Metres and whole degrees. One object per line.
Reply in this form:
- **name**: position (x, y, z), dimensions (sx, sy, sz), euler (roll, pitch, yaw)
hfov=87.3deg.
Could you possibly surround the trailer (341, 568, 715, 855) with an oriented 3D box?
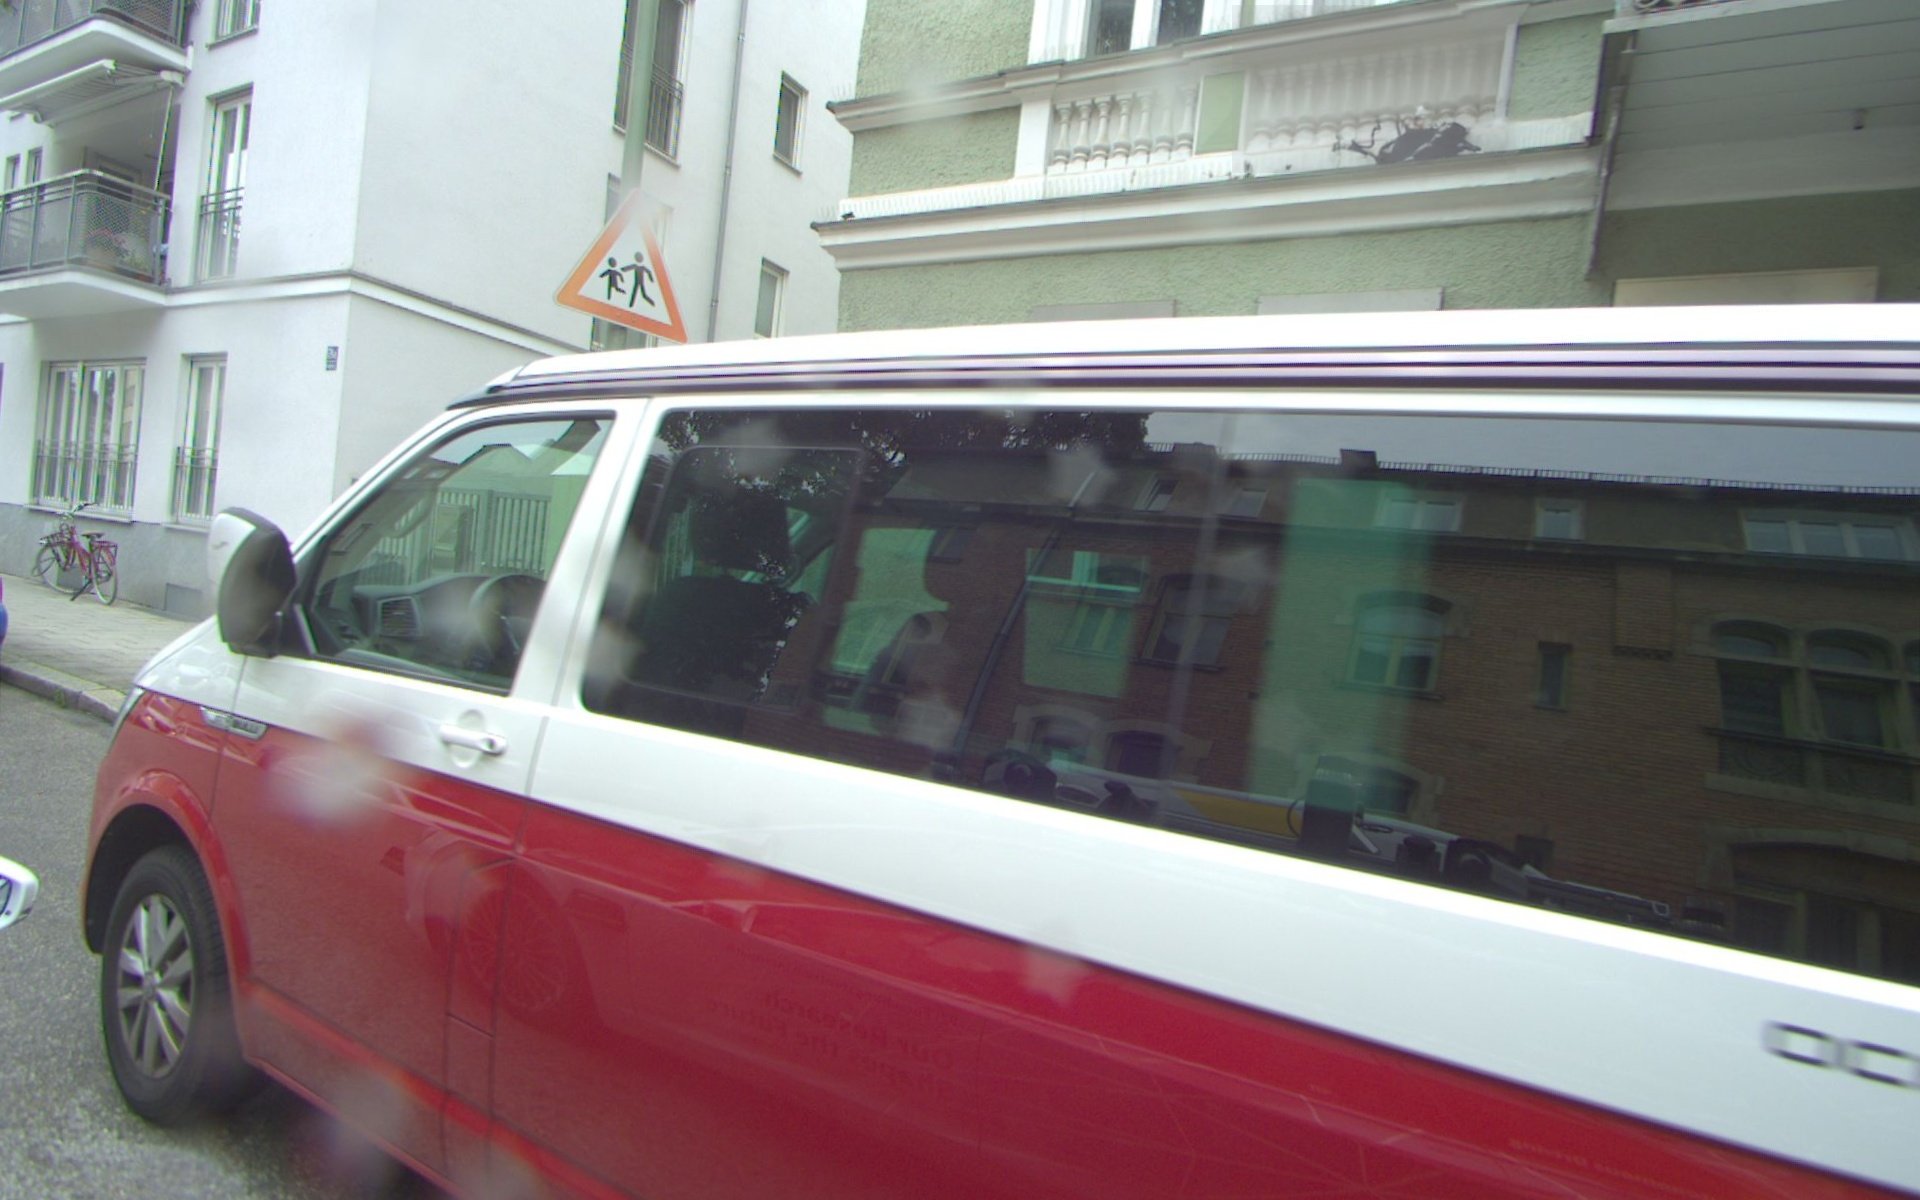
- **trailer**: position (-2.516, 0.517, 5.744), dimensions (2.130, 1.200, 0.941), euler (7, 4, 35)

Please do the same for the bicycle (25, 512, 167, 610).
- **bicycle**: position (-10.644, -0.486, 12.379), dimensions (1.803, 1.041, 0.678), euler (5, 0, 28)

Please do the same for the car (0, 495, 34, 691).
- **car**: position (-8.862, -0.279, 7.617), dimensions (3.493, 1.428, 1.623), euler (6, -2, 29)

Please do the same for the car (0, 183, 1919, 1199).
- **car**: position (-0.105, 0.495, 2.452), dimensions (4.512, 1.918, 1.858), euler (7, -1, 29)
